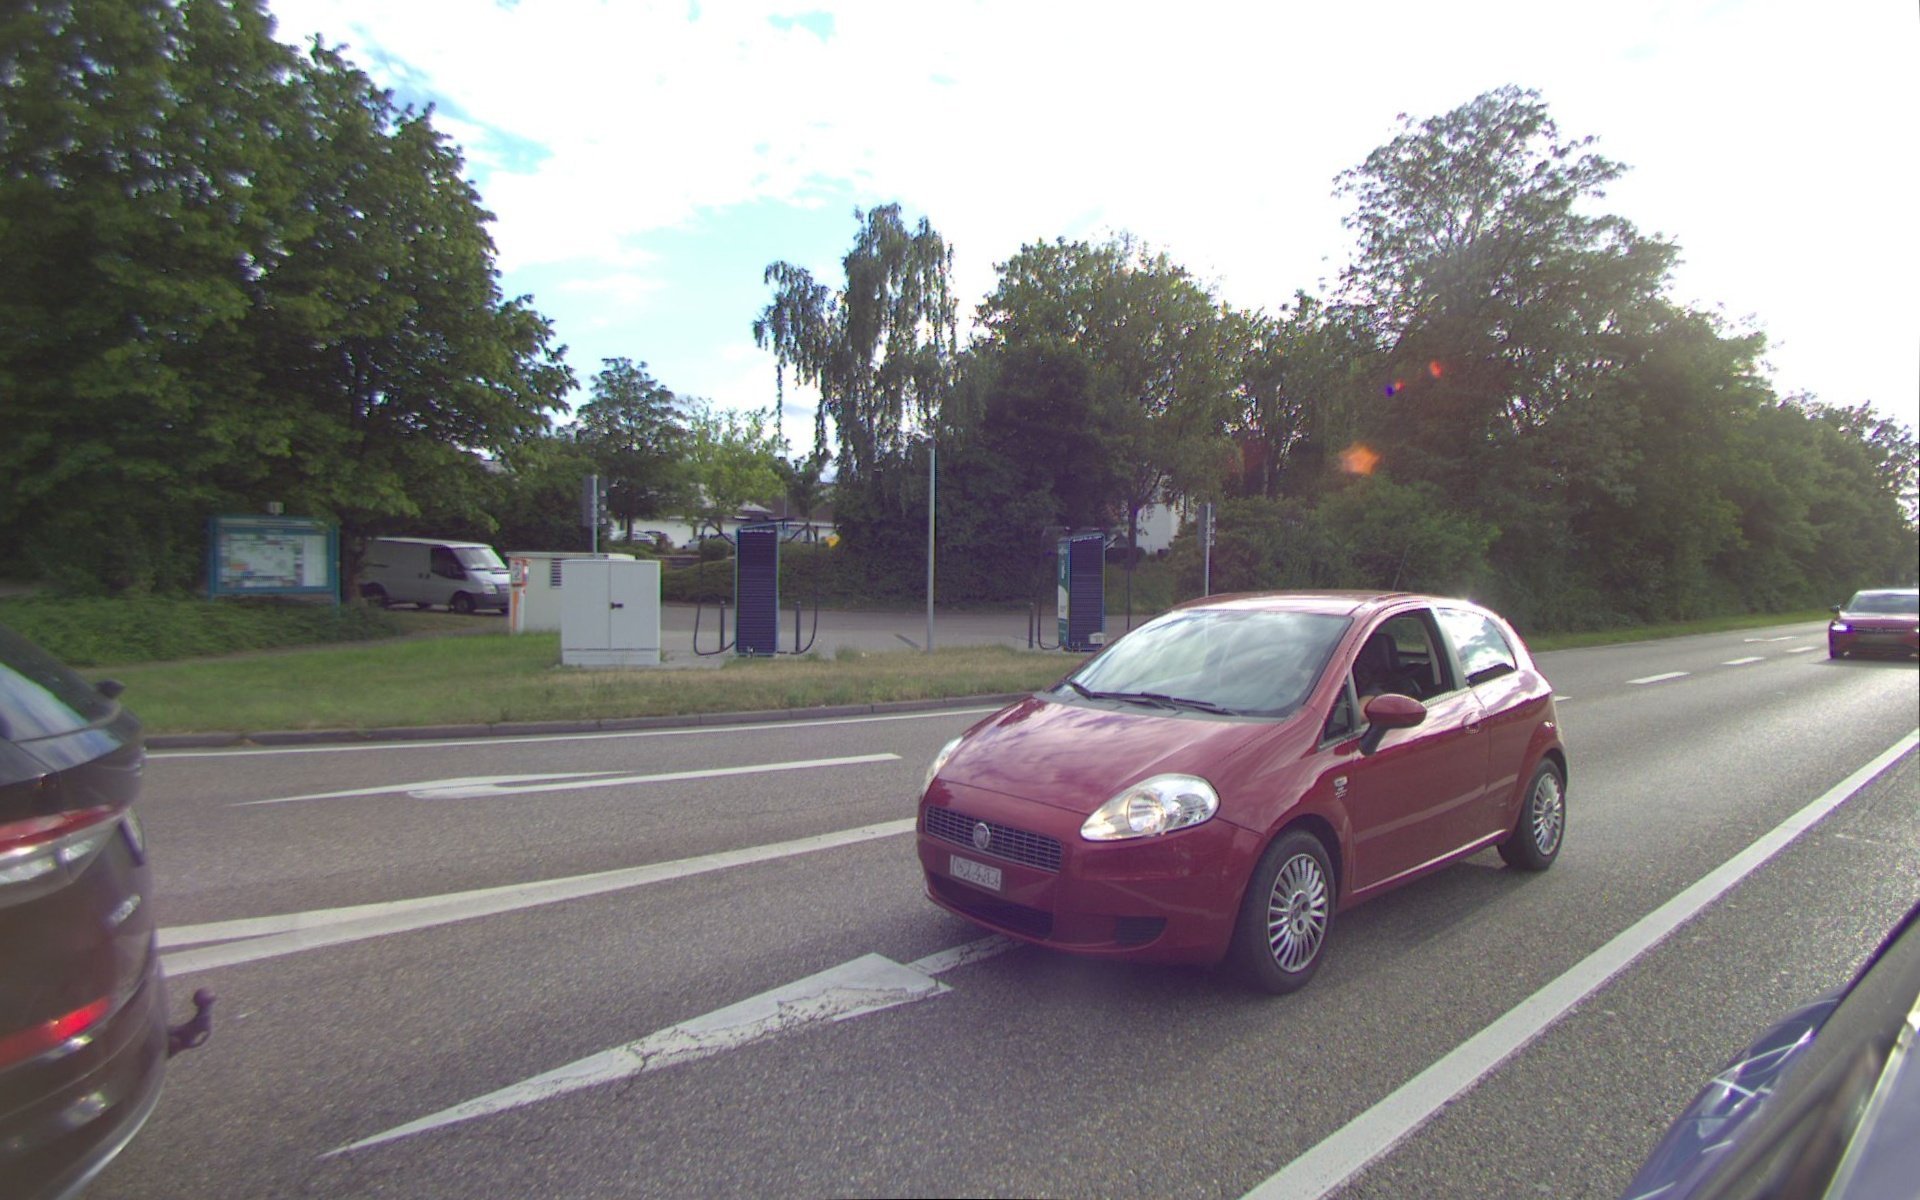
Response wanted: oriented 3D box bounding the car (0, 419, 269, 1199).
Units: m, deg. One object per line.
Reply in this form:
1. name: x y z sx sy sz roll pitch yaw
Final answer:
1. car: -3.473 0.574 1.032 4.403 1.670 1.847 -1 1 -41

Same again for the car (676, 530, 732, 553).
1. car: -17.257 -3.903 68.157 1.968 1.382 3.989 -1 1 -45

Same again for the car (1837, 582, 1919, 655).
1. car: 19.982 0.334 21.388 3.931 1.433 1.699 -1 1 -42

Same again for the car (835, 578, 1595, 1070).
1. car: 1.487 0.624 4.913 3.926 1.450 1.665 -1 1 -41

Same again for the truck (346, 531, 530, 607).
1. truck: -14.648 -0.855 28.457 4.602 2.022 1.816 0 1 14
